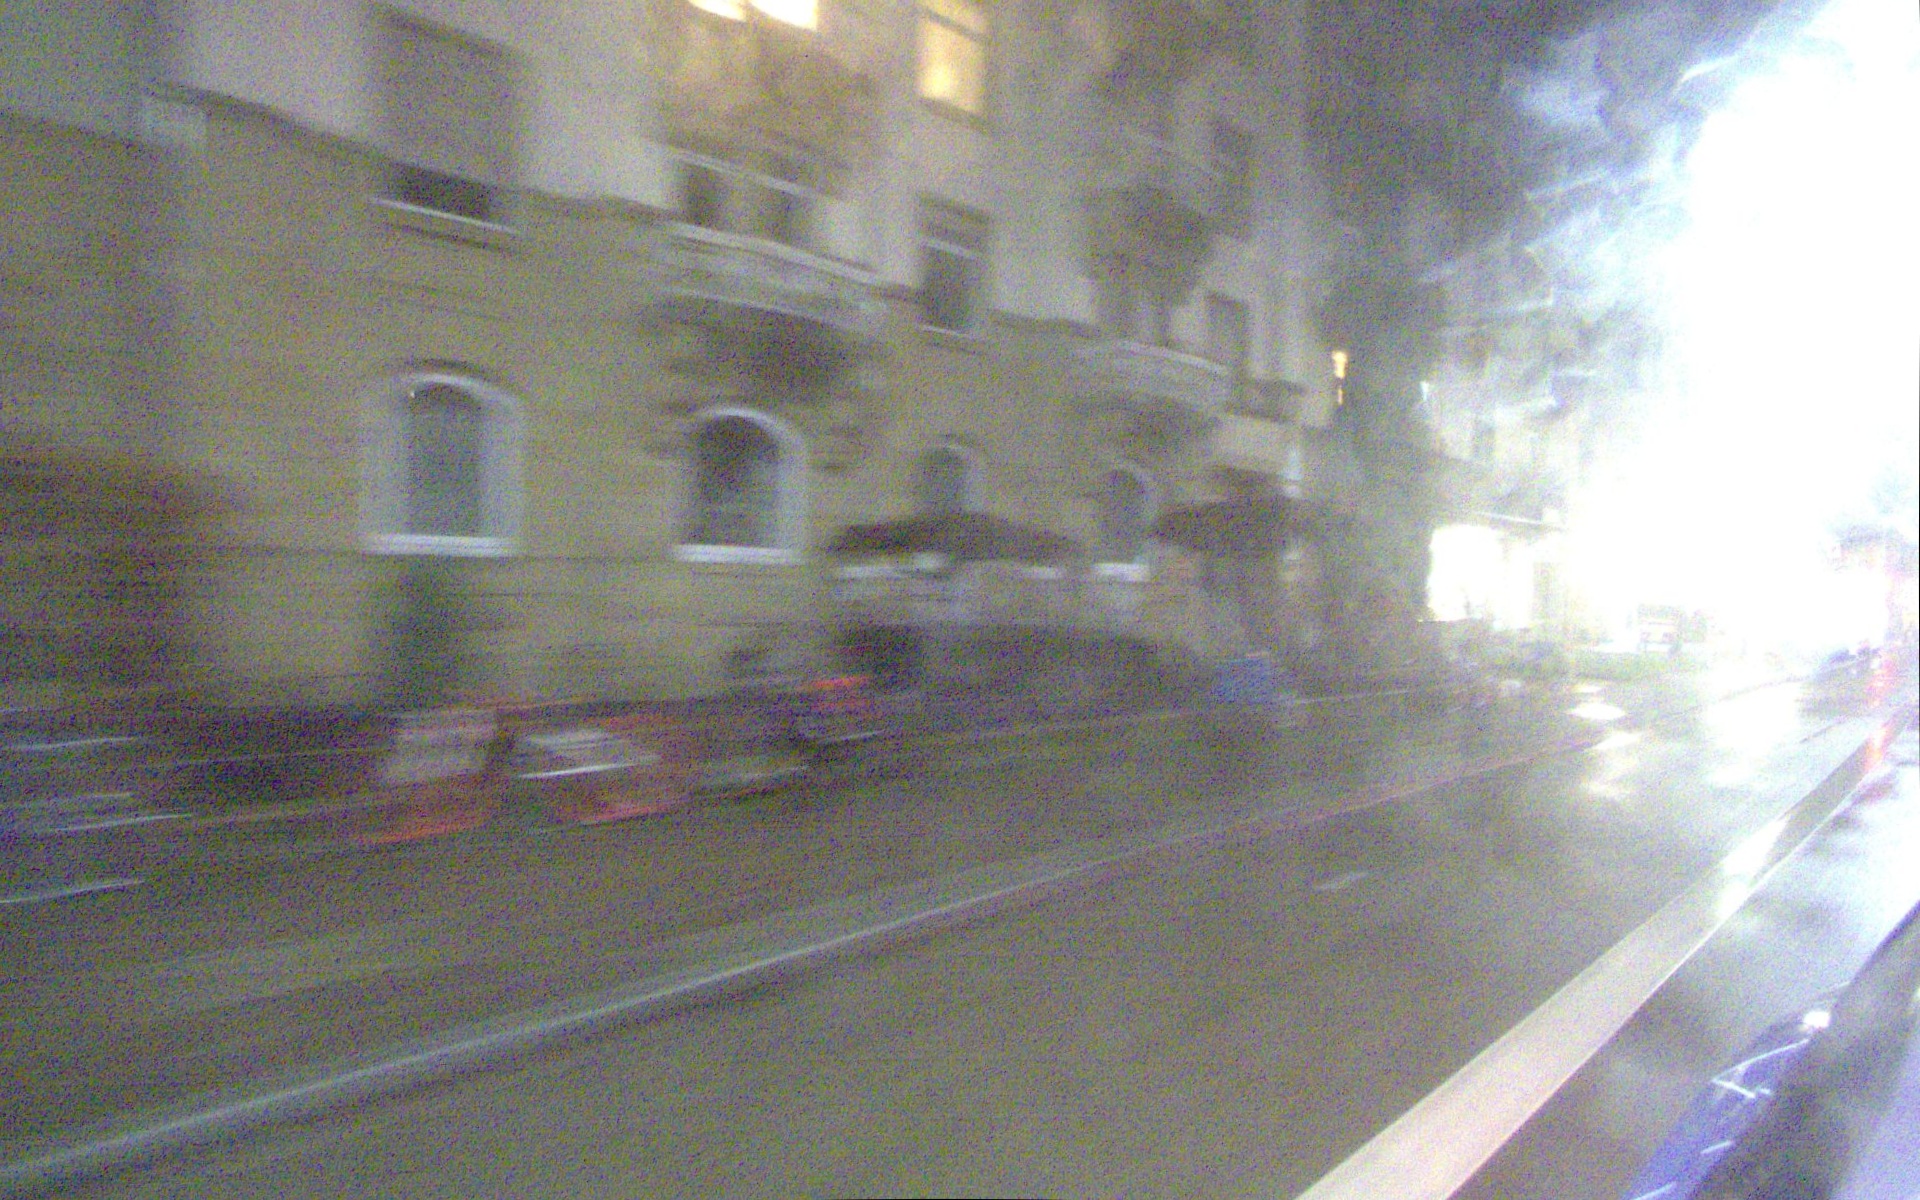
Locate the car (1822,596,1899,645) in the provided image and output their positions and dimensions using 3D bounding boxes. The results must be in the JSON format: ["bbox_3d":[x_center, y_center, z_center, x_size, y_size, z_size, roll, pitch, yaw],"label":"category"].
[{"bbox_3d":[31.871,0.684,35.807,3.520,1.543,1.650,0,4,-43],"label":"car"}]

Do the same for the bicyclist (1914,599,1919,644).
[{"bbox_3d":[34.063,0.754,35.628,0.569,1.568,0.805,-2,-1,38],"label":"bicyclist"}]

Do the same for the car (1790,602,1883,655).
[{"bbox_3d":[28.048,0.856,32.365,3.985,1.459,1.649,0,4,-41],"label":"car"}]

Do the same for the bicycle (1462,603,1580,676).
[{"bbox_3d":[10.404,0.705,18.812,0.484,1.178,1.817,-1,4,-42],"label":"bicycle"}]

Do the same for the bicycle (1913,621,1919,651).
[{"bbox_3d":[34.071,1.264,35.620,0.569,0.981,1.756,-2,-1,38],"label":"bicycle"}]
